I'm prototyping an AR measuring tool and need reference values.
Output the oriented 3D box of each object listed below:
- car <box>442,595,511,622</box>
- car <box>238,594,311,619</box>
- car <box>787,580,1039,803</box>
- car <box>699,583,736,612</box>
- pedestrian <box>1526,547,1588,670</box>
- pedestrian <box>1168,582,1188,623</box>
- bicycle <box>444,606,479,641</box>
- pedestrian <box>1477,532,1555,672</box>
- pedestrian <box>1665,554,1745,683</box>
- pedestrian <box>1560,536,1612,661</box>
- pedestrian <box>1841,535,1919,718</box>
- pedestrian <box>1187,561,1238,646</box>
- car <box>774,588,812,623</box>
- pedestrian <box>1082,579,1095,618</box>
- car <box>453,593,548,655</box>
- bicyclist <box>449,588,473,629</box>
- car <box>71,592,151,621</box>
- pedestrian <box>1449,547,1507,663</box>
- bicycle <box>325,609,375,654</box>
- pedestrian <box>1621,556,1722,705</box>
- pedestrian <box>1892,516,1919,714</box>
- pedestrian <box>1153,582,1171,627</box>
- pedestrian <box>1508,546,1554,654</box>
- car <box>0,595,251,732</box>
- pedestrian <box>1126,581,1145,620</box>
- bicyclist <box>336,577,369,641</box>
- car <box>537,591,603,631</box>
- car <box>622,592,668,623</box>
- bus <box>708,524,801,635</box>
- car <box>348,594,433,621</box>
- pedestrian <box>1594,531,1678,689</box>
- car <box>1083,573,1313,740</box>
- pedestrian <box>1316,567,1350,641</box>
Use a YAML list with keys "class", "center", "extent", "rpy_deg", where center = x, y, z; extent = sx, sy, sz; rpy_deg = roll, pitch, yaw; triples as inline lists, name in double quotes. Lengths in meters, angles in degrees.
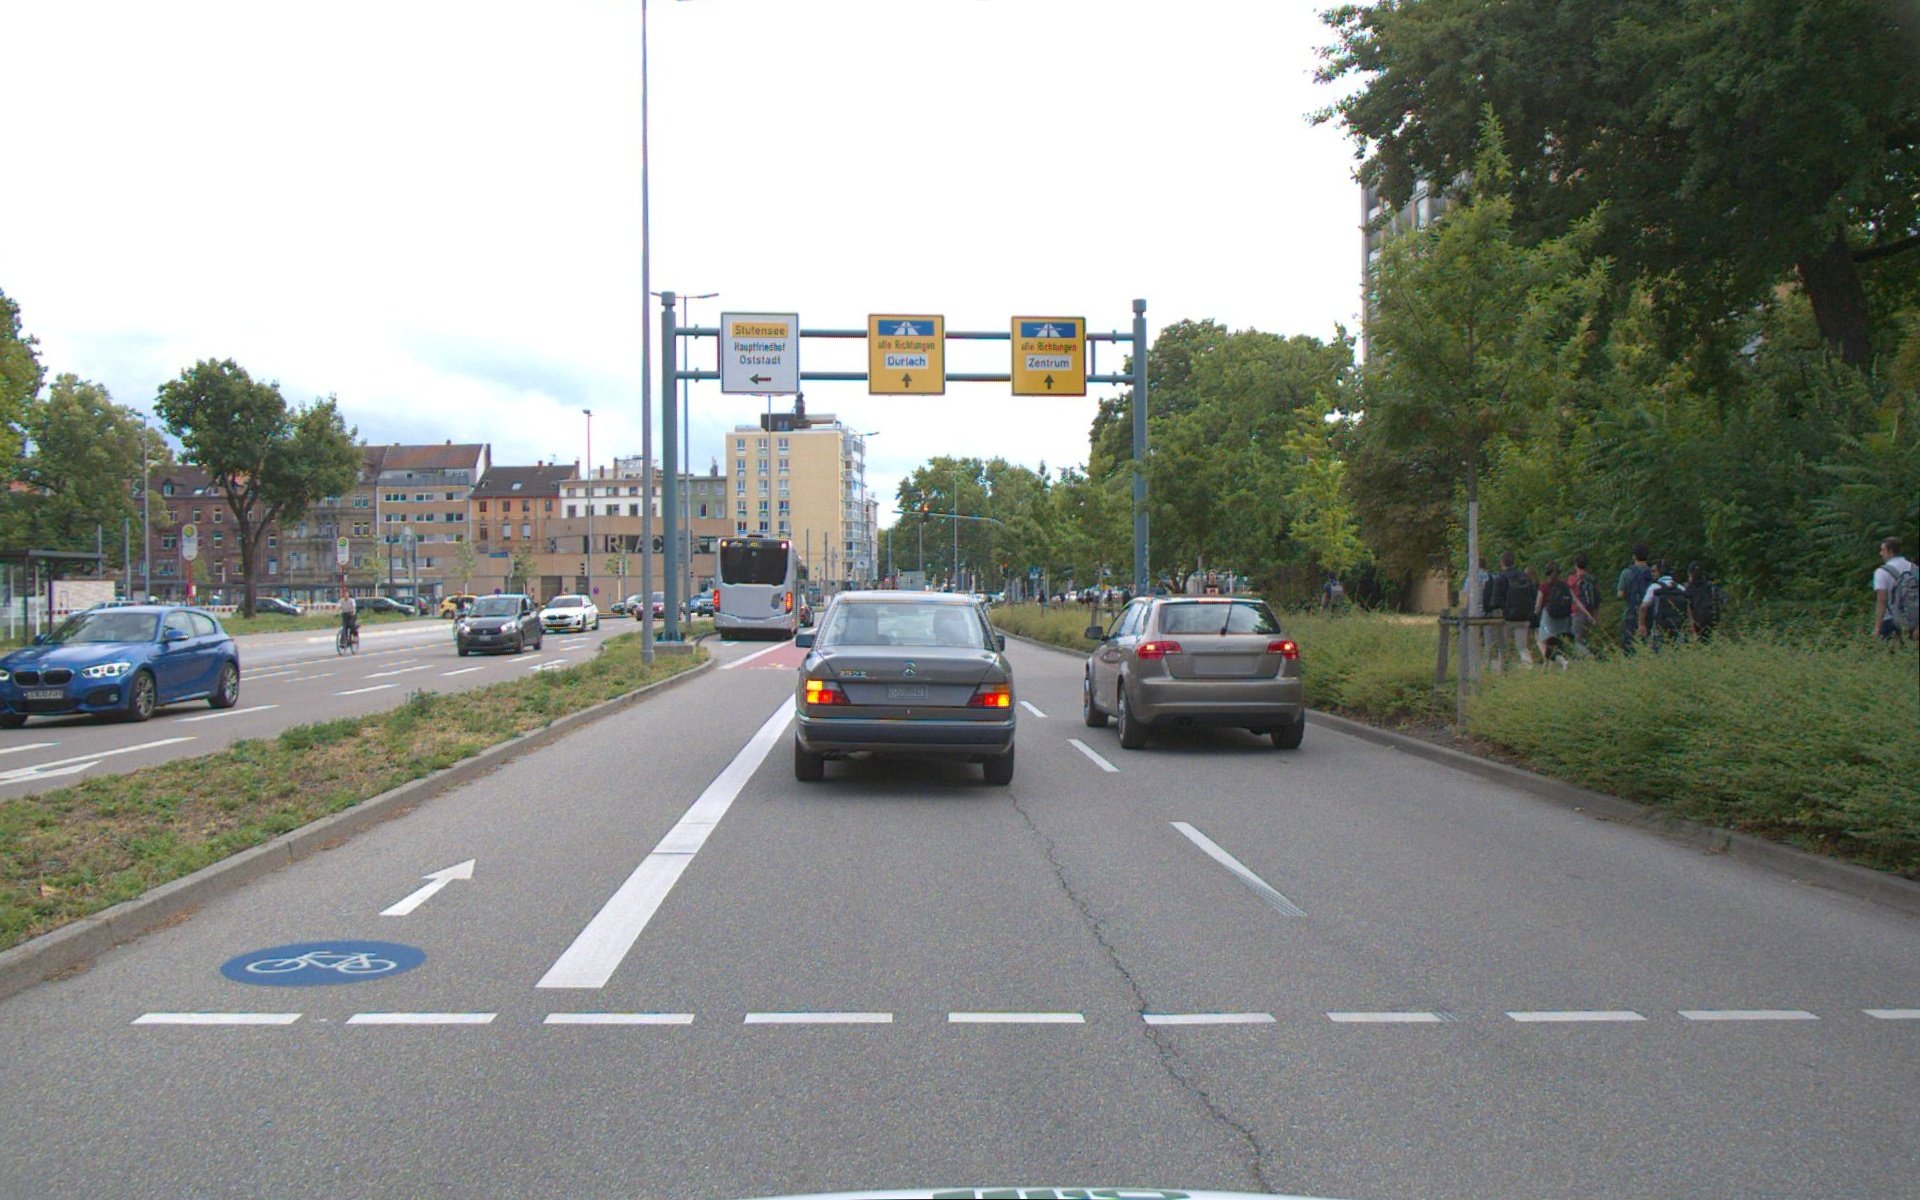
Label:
- class: "car"
  center: [-29.280, 0.498, 100.278]
  extent: [3.784, 1.544, 1.657]
  rpy_deg: [1, 0, -8]
- class: "car"
  center: [-40.717, 0.402, 98.261]
  extent: [3.694, 1.419, 1.581]
  rpy_deg: [1, 0, -10]
- class: "car"
  center: [-0.446, 0.611, 13.487]
  extent: [1.726, 1.515, 4.168]
  rpy_deg: [-1, 0, -4]
- class: "car"
  center: [-14.755, -0.164, 100.886]
  extent: [1.766, 1.694, 4.297]
  rpy_deg: [-3, 1, -3]
- class: "pedestrian"
  center: [8.370, 0.117, 23.200]
  extent: [0.544, 1.684, 0.753]
  rpy_deg: [-1, 0, -3]
- class: "pedestrian"
  center: [7.933, 0.084, 60.223]
  extent: [0.643, 1.496, 0.562]
  rpy_deg: [-1, 0, 14]
- class: "bicycle"
  center: [-18.114, 0.844, 60.131]
  extent: [0.569, 1.191, 1.965]
  rpy_deg: [-1, 0, 3]
- class: "pedestrian"
  center: [7.544, 0.025, 22.479]
  extent: [0.679, 1.853, 0.954]
  rpy_deg: [-1, 0, -3]
- class: "pedestrian"
  center: [9.544, 0.227, 21.208]
  extent: [0.623, 1.611, 0.785]
  rpy_deg: [-1, 0, -3]
- class: "pedestrian"
  center: [9.096, -0.026, 24.049]
  extent: [0.474, 1.794, 0.663]
  rpy_deg: [-1, 0, -3]
- class: "pedestrian"
  center: [9.382, 0.251, 16.517]
  extent: [0.707, 1.775, 0.812]
  rpy_deg: [-1, 0, -3]
- class: "pedestrian"
  center: [5.606, 0.079, 36.702]
  extent: [0.915, 1.862, 0.886]
  rpy_deg: [-1, 0, 24]
- class: "car"
  center: [-7.569, 0.235, 75.084]
  extent: [1.623, 1.420, 3.856]
  rpy_deg: [-1, 3, -6]
- class: "pedestrian"
  center: [6.840, -0.099, 88.012]
  extent: [0.602, 2.049, 0.597]
  rpy_deg: [0, 0, -4]
- class: "car"
  center: [-11.957, 0.589, 43.214]
  extent: [1.540, 1.515, 3.635]
  rpy_deg: [-1, 0, -2]
- class: "bicyclist"
  center: [-18.117, 0.302, 60.065]
  extent: [0.568, 1.443, 0.811]
  rpy_deg: [-1, 0, 2]
- class: "car"
  center: [-52.416, 0.389, 102.188]
  extent: [4.077, 1.678, 1.643]
  rpy_deg: [-1, 0, -9]
- class: "pedestrian"
  center: [8.050, 0.068, 25.721]
  extent: [0.606, 1.766, 0.814]
  rpy_deg: [-1, 0, -3]
- class: "bicycle"
  center: [-17.445, 0.881, 47.356]
  extent: [0.605, 1.238, 2.045]
  rpy_deg: [-1, 0, 2]
- class: "pedestrian"
  center: [8.008, 0.331, 18.640]
  extent: [0.760, 1.630, 0.812]
  rpy_deg: [-1, 0, -3]
- class: "pedestrian"
  center: [8.655, 0.127, 14.319]
  extent: [0.644, 1.719, 0.841]
  rpy_deg: [-1, 0, -5]
- class: "pedestrian"
  center: [7.949, 0.186, 65.089]
  extent: [0.632, 1.743, 0.562]
  rpy_deg: [-1, 0, 12]
- class: "pedestrian"
  center: [8.977, -0.005, 26.022]
  extent: [0.458, 1.662, 0.652]
  rpy_deg: [-1, 0, -3]
- class: "car"
  center: [-10.847, 0.735, 21.424]
  extent: [1.766, 1.538, 4.101]
  rpy_deg: [-1, 1, -4]
- class: "pedestrian"
  center: [7.989, 0.017, 75.349]
  extent: [0.784, 1.743, 0.765]
  rpy_deg: [-1, 0, 10]
- class: "bicyclist"
  center: [-17.453, 0.263, 47.508]
  extent: [0.605, 1.813, 0.811]
  rpy_deg: [-1, 0, 2]
- class: "car"
  center: [-15.628, 0.411, 66.457]
  extent: [1.765, 1.515, 4.414]
  rpy_deg: [-1, 0, -3]
- class: "car"
  center: [-16.445, 0.366, 86.451]
  extent: [1.765, 1.515, 4.287]
  rpy_deg: [-1, 0, -3]
- class: "bus"
  center: [-6.821, -0.673, 55.919]
  extent: [2.776, 3.449, 8.175]
  rpy_deg: [0, 0, -5]
- class: "car"
  center: [-34.196, 0.438, 99.369]
  extent: [4.582, 1.501, 1.657]
  rpy_deg: [1, 0, -8]
- class: "pedestrian"
  center: [8.155, 0.117, 19.980]
  extent: [0.643, 1.853, 0.812]
  rpy_deg: [-1, 0, -3]
- class: "car"
  center: [2.281, 0.488, 16.755]
  extent: [1.689, 1.483, 3.735]
  rpy_deg: [-1, 0, -2]
- class: "pedestrian"
  center: [8.728, 0.088, 38.688]
  extent: [0.575, 1.712, 0.748]
  rpy_deg: [-1, 0, -3]
